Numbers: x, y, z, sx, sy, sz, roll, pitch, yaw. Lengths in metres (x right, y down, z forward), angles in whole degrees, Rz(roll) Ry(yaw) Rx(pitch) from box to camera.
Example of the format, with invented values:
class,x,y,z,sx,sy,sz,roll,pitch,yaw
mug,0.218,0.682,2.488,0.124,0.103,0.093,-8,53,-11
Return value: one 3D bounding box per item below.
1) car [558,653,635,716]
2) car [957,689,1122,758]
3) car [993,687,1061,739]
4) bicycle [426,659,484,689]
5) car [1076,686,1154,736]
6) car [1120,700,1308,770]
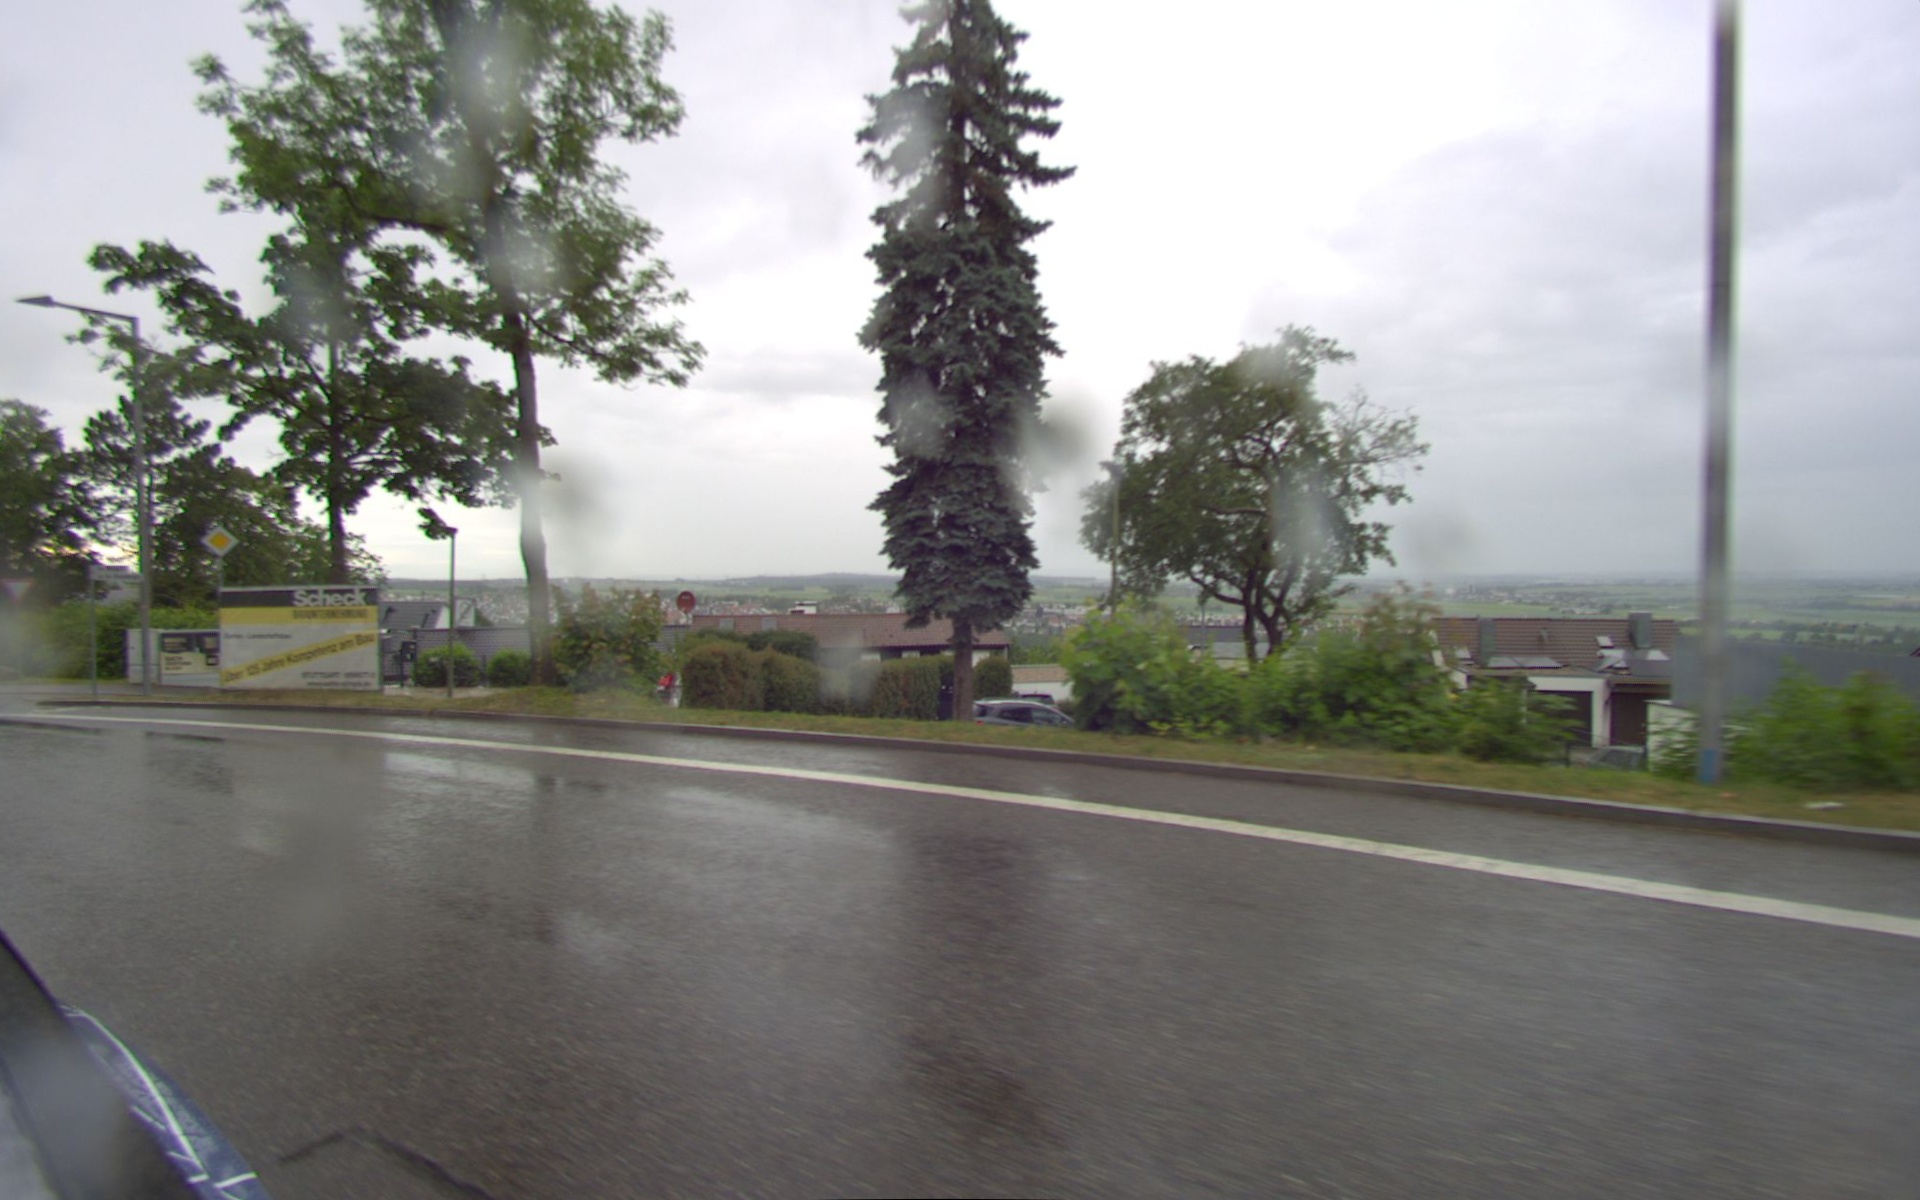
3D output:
class,x,y,z,sx,sy,sz,roll,pitch,yaw
car,-11.342,2.608,31.799,1.757,1.262,4.259,4,3,-14
car,1.998,3.167,26.224,3.939,1.427,1.886,3,-3,-5
car,2.247,3.836,34.797,1.857,1.427,4.002,-2,-2,-2
bicycle,-16.756,2.455,33.572,1.643,0.972,0.430,1,-2,-9
car,5.313,3.803,35.146,1.857,1.367,4.002,-2,-2,-2
car,6.592,3.515,26.571,4.215,1.361,2.166,5,-3,-5
